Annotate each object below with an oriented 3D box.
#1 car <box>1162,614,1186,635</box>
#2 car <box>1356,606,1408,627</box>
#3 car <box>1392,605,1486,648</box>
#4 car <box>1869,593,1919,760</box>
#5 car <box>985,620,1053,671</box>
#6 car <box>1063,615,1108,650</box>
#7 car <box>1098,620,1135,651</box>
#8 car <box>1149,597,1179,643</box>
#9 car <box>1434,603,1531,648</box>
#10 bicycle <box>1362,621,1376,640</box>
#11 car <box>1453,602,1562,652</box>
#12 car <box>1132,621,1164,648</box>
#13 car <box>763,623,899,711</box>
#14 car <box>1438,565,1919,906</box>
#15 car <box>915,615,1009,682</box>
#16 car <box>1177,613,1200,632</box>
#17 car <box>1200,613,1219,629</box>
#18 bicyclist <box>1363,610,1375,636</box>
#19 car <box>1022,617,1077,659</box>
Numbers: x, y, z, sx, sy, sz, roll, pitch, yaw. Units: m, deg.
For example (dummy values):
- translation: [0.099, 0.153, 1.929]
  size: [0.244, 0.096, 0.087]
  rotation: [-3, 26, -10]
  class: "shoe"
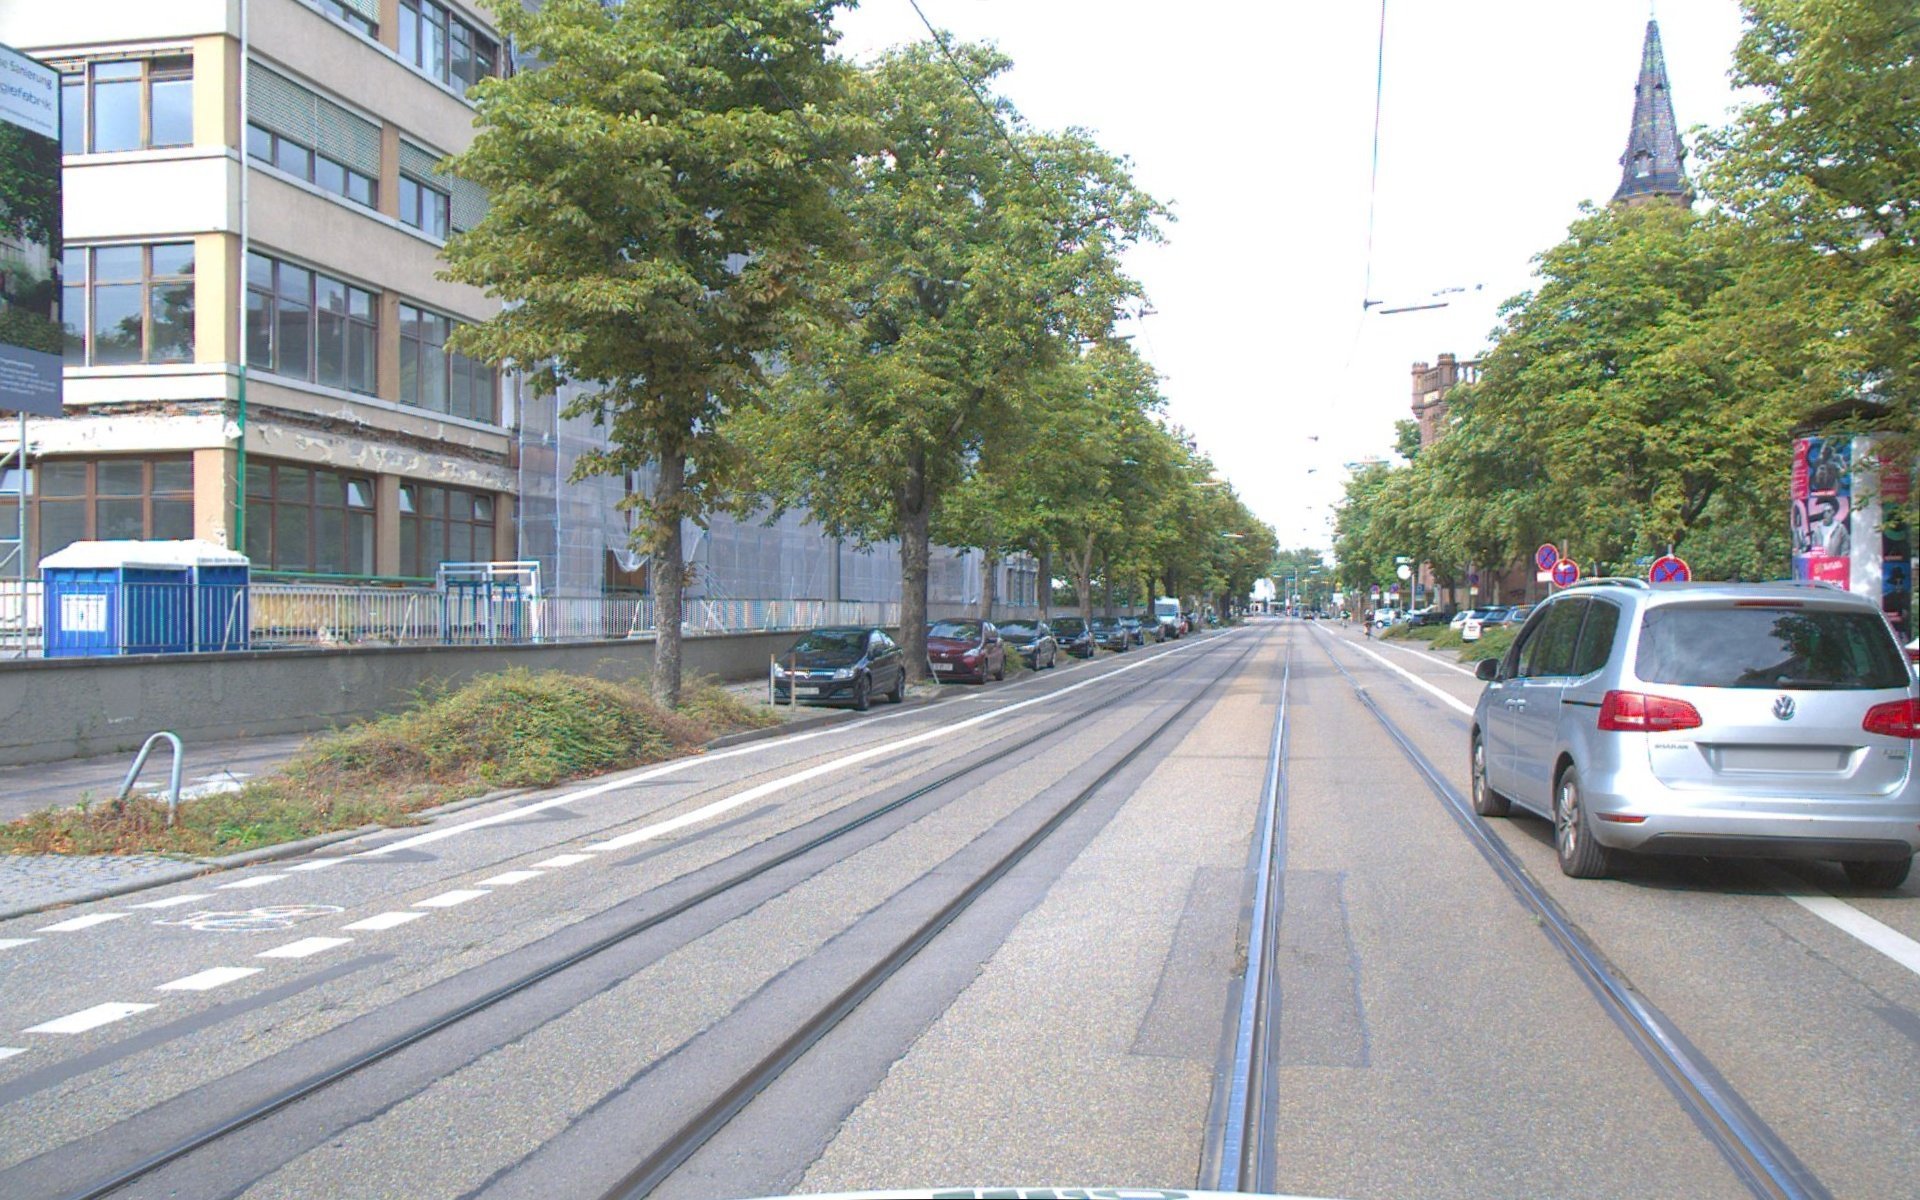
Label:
- translation: [14.816, 1.687, 114.483]
  size: [1.556, 1.427, 3.966]
  rotation: [0, 0, 9]
  class: "car"
- translation: [34.918, 1.388, 136.973]
  size: [3.902, 1.723, 2.001]
  rotation: [0, 0, 5]
  class: "car"
- translation: [18.664, 1.011, 64.441]
  size: [3.604, 1.630, 1.661]
  rotation: [0, -1, -35]
  class: "car"
- translation: [11.013, 0.747, 16.846]
  size: [3.604, 1.630, 1.661]
  rotation: [0, -1, -35]
  class: "car"
- translation: [1.771, 1.305, 48.838]
  size: [1.556, 1.427, 3.966]
  rotation: [0, 0, 9]
  class: "car"
- translation: [5.273, 1.338, 69.154]
  size: [1.556, 1.427, 3.966]
  rotation: [0, 0, 9]
  class: "car"
- translation: [7.503, 1.683, 79.138]
  size: [1.556, 1.427, 3.966]
  rotation: [0, 0, 9]
  class: "car"
- translation: [12.642, 1.222, 102.198]
  size: [1.684, 2.751, 5.474]
  rotation: [0, -1, 9]
  class: "car"
- translation: [19.623, 0.959, 62.077]
  size: [3.604, 1.630, 1.661]
  rotation: [0, -1, -35]
  class: "car"
- translation: [23.440, 1.748, 94.853]
  size: [0.580, 1.062, 1.979]
  rotation: [0, 0, 9]
  class: "bicycle"
- translation: [18.343, 0.894, 55.395]
  size: [3.604, 1.630, 1.661]
  rotation: [0, -1, -35]
  class: "car"
- translation: [10.118, 1.833, 89.028]
  size: [1.556, 1.427, 3.966]
  rotation: [0, 0, 9]
  class: "car"
- translation: [-2.224, 1.134, 29.489]
  size: [1.556, 1.427, 3.966]
  rotation: [0, 0, 9]
  class: "car"
- translation: [4.418, 0.697, 10.785]
  size: [1.773, 1.731, 4.620]
  rotation: [0, 0, 7]
  class: "car"
- translation: [0.106, 1.134, 39.856]
  size: [1.601, 1.522, 3.966]
  rotation: [0, 0, 10]
  class: "car"
- translation: [17.579, 1.694, 127.131]
  size: [1.556, 1.427, 3.553]
  rotation: [0, 0, 11]
  class: "car"
- translation: [21.959, 1.848, 145.553]
  size: [1.556, 1.427, 3.553]
  rotation: [0, 0, 11]
  class: "car"
- translation: [23.443, 1.290, 94.858]
  size: [0.580, 1.485, 0.876]
  rotation: [0, 0, 9]
  class: "bicyclist"
- translation: [3.218, 1.339, 59.051]
  size: [1.556, 1.427, 3.966]
  rotation: [0, 0, 9]
  class: "car"
